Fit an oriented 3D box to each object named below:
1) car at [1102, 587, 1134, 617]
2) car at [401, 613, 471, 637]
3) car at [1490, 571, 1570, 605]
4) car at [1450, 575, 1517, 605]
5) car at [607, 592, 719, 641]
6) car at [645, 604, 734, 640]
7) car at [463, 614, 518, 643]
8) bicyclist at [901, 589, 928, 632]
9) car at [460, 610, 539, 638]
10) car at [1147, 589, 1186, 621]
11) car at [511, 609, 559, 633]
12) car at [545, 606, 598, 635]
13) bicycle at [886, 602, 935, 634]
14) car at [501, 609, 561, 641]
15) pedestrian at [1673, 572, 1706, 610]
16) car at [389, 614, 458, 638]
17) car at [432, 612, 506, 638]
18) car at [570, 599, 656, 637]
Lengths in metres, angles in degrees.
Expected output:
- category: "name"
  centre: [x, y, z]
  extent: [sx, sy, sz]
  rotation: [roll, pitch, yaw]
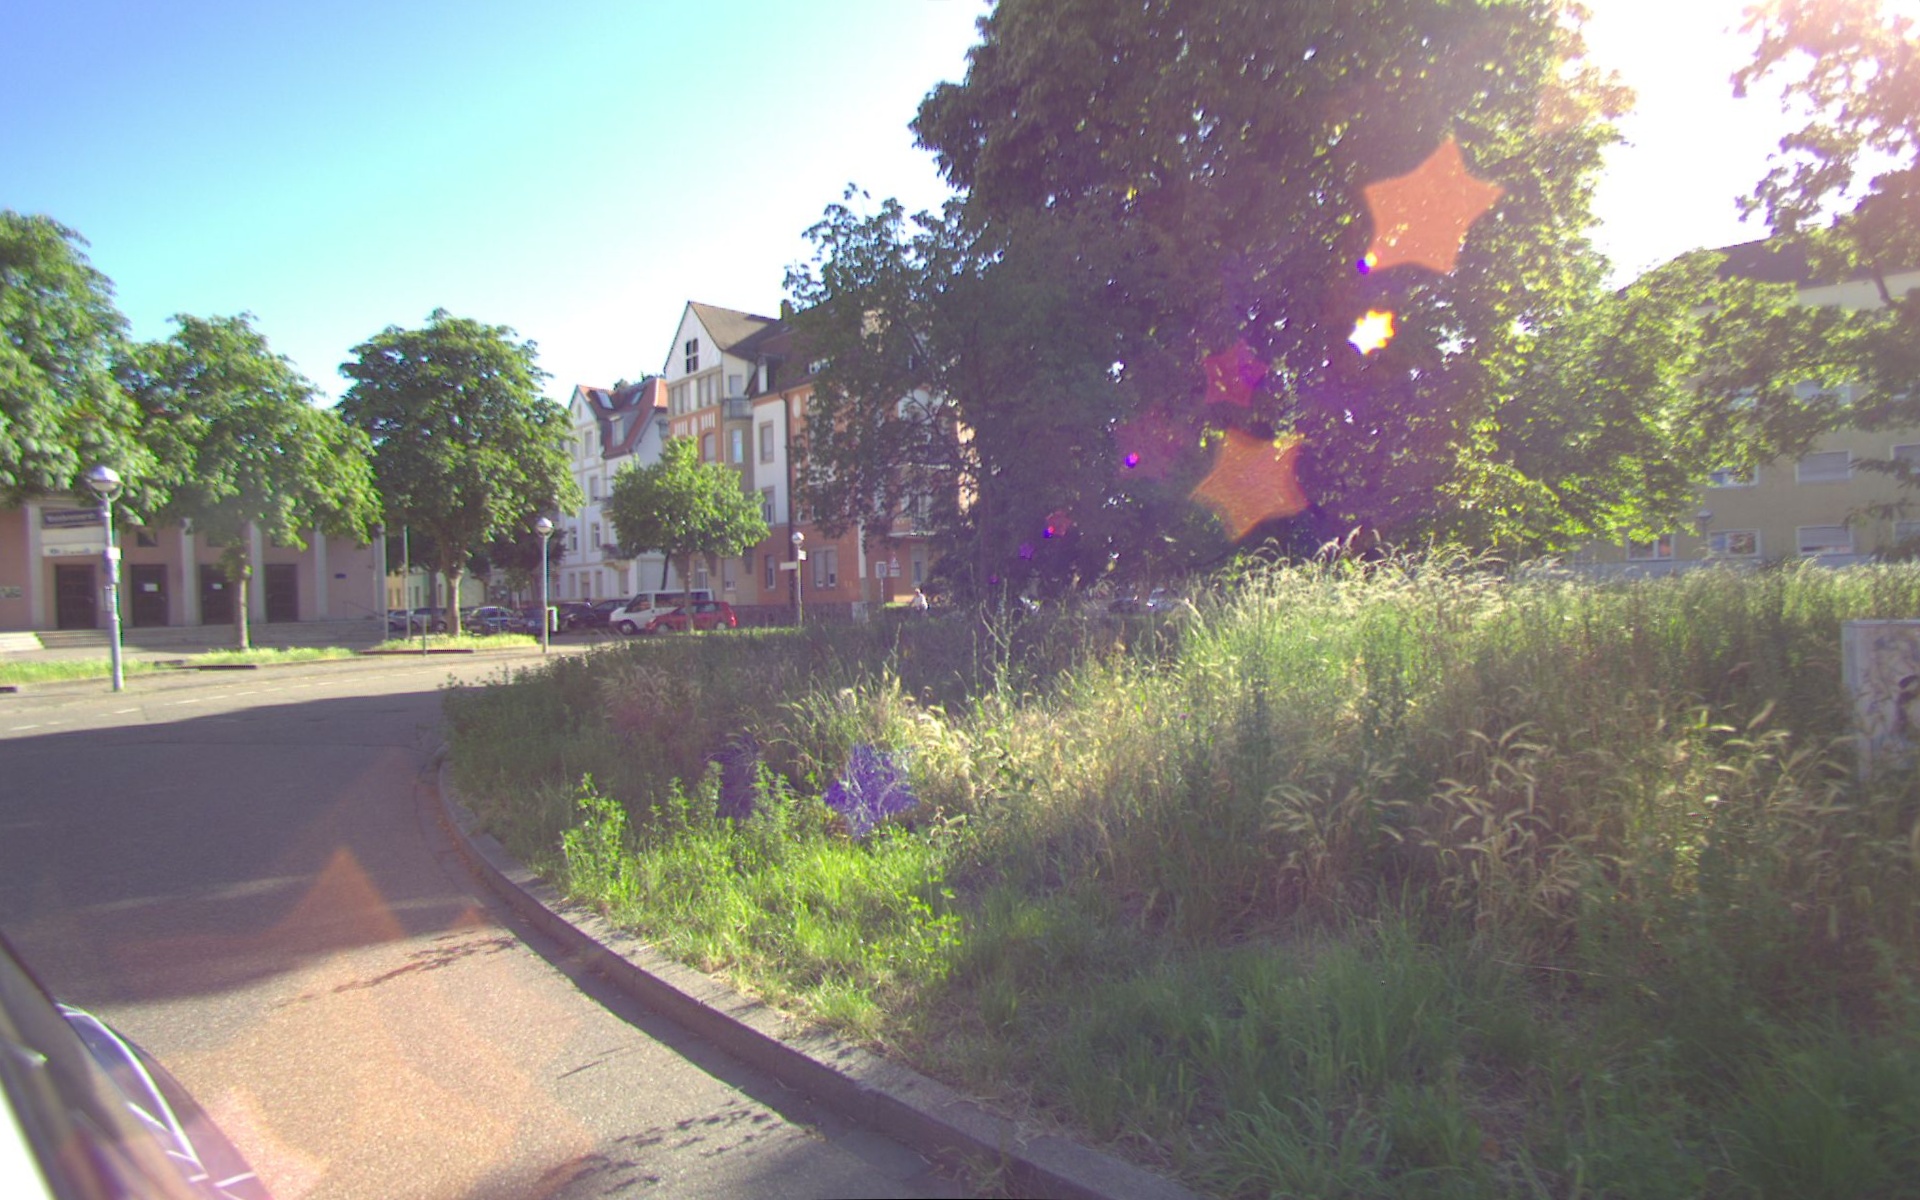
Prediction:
- category: "car"
  centre: [10.281, 0.111, 65.669]
  extent: [1.779, 1.780, 4.195]
  rotation: [-4, -1, 10]
- category: "car"
  centre: [-35.761, 1.718, 69.135]
  extent: [3.893, 1.507, 1.764]
  rotation: [-1, 0, -7]
- category: "car"
  centre: [26.524, -0.525, 47.222]
  extent: [1.713, 1.422, 4.478]
  rotation: [-2, 0, 9]
- category: "car"
  centre: [27.441, -0.488, 53.198]
  extent: [1.715, 1.450, 4.376]
  rotation: [-2, 0, 9]
- category: "car"
  centre: [-13.492, 0.721, 46.199]
  extent: [4.630, 2.061, 1.998]
  rotation: [-1, 0, -9]
- category: "car"
  centre: [-11.691, 0.931, 43.904]
  extent: [3.635, 1.446, 1.673]
  rotation: [-1, 0, -11]
- category: "car"
  centre: [-24.354, 1.464, 52.399]
  extent: [1.589, 1.433, 3.618]
  rotation: [-1, 0, -42]
- category: "bicyclist"
  centre: [-1.861, 0.430, 41.179]
  extent: [0.798, 1.709, 0.767]
  rotation: [-2, 0, -28]
- category: "car"
  centre: [-27.374, 1.413, 60.279]
  extent: [3.893, 1.507, 1.764]
  rotation: [-1, 0, -7]
- category: "car"
  centre: [10.222, 0.242, 50.273]
  extent: [1.779, 1.446, 4.195]
  rotation: [-3, -1, 11]
- category: "car"
  centre: [-27.761, 1.372, 66.053]
  extent: [1.734, 1.467, 3.961]
  rotation: [-1, 0, -41]
- category: "car"
  centre: [-23.756, 1.232, 61.787]
  extent: [1.734, 1.670, 3.961]
  rotation: [-1, 0, -41]
- category: "bicycle"
  centre: [-2.004, 0.734, 41.107]
  extent: [1.838, 1.207, 0.767]
  rotation: [-2, 0, -28]
- category: "car"
  centre: [-20.924, 1.206, 49.277]
  extent: [1.589, 1.433, 3.618]
  rotation: [-1, 0, -42]
- category: "pedestrian"
  centre: [29.958, -0.373, 41.568]
  extent: [0.816, 1.535, 0.696]
  rotation: [-3, 0, 6]
- category: "car"
  centre: [-37.869, 1.814, 71.530]
  extent: [3.893, 1.507, 1.764]
  rotation: [-1, 0, -7]
- category: "car"
  centre: [-31.467, 1.568, 64.927]
  extent: [3.893, 1.507, 1.764]
  rotation: [-1, 0, -7]
- category: "car"
  centre: [-17.382, 0.888, 50.868]
  extent: [3.890, 1.751, 1.765]
  rotation: [-1, 0, -11]
